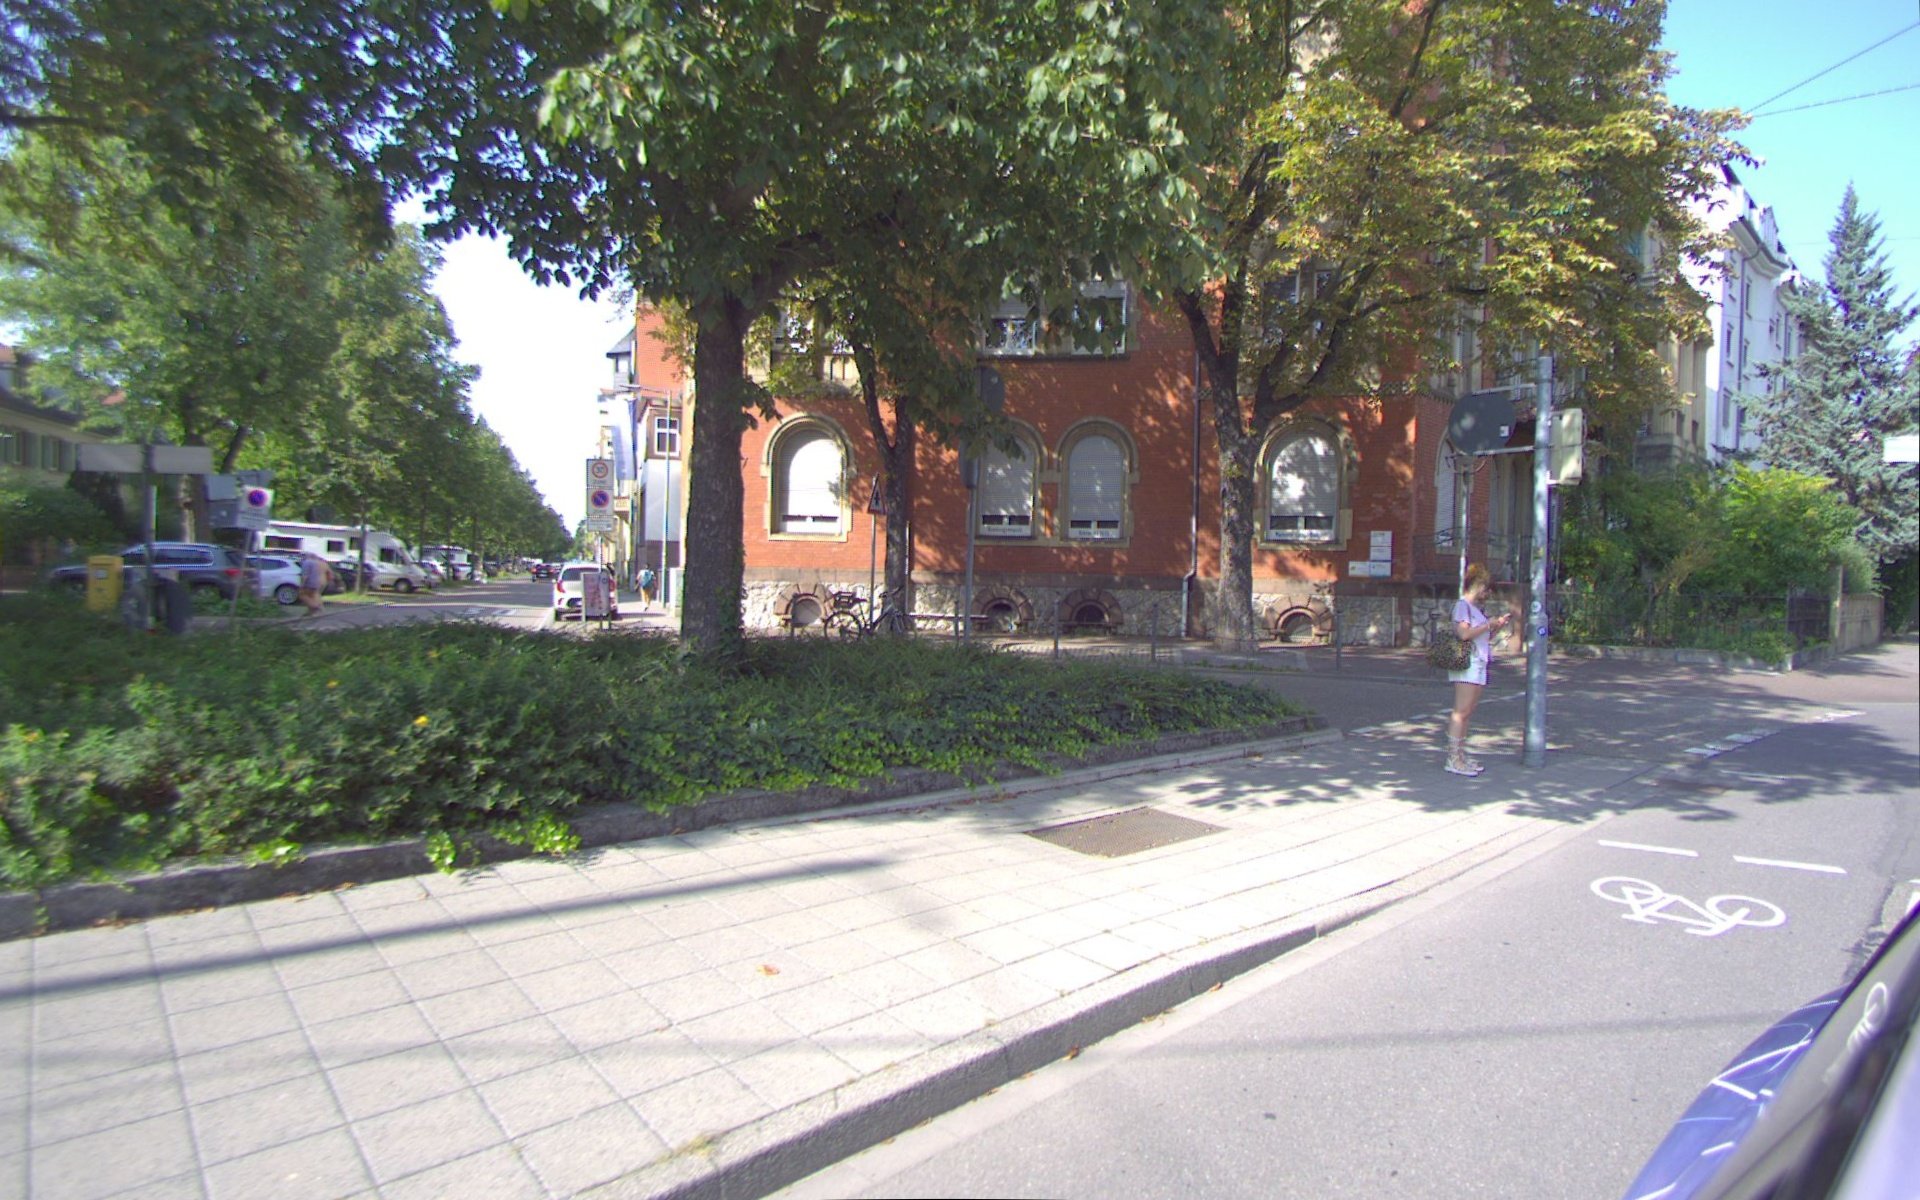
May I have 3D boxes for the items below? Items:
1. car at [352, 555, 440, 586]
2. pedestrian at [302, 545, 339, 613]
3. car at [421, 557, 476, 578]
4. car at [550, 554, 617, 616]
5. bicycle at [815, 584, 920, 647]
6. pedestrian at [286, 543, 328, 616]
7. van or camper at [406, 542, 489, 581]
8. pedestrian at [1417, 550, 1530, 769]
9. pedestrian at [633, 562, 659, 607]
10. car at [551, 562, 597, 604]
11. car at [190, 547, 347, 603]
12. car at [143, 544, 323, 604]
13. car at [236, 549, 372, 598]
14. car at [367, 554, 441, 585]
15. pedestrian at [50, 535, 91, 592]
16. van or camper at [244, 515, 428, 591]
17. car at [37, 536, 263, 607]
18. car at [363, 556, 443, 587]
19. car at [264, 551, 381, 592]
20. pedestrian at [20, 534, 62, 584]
[{"bbox_3d":[-29.978,-1.566,53.913,3.939,1.385,1.665,4,0,-28],"label":"car"},{"bbox_3d":[-16.957,-0.563,26.857,0.581,1.786,0.606,1,1,7],"label":"pedestrian"},{"bbox_3d":[-42.246,-2.671,83.561,3.939,1.385,1.665,4,0,-28],"label":"car"},{"bbox_3d":[-10.376,-0.440,27.855,1.588,1.586,4.009,0,2,-21],"label":"car"},{"bbox_3d":[-1.606,0.278,17.714,1.804,1.072,0.608,0,-2,-1],"label":"bicycle"},{"bbox_3d":[-16.408,-0.520,25.436,0.644,1.786,0.605,1,1,9],"label":"pedestrian"},{"bbox_3d":[-44.701,-3.300,88.505,6.197,2.919,2.003,3,-2,-22],"label":"van or camper"},{"bbox_3d":[4.276,0.465,8.432,0.648,1.739,0.544,0,1,-32],"label":"pedestrian"},{"bbox_3d":[-9.600,-0.472,30.955,0.703,1.342,0.680,1,1,-21],"label":"pedestrian"},{"bbox_3d":[-15.238,-0.698,39.959,1.588,1.586,4.009,0,2,-21],"label":"car"},{"bbox_3d":[-22.151,-0.783,32.609,3.939,1.480,1.665,4,0,-28],"label":"car"},{"bbox_3d":[-21.664,-0.767,30.378,4.109,1.480,1.665,4,0,-28],"label":"car"},{"bbox_3d":[-23.721,-0.945,36.781,3.939,1.480,1.665,4,0,-28],"label":"car"},{"bbox_3d":[-34.937,-1.904,63.695,3.939,1.611,1.665,4,0,-28],"label":"car"},{"bbox_3d":[-28.728,-1.175,32.706,0.754,1.782,0.860,0,1,-22],"label":"pedestrian"},{"bbox_3d":[-28.441,-2.071,46.450,6.797,2.919,2.003,3,-2,-23],"label":"van or camper"},{"bbox_3d":[-20.075,-0.686,25.294,4.107,1.658,1.666,0,1,-22],"label":"car"},{"bbox_3d":[-32.101,-1.631,58.450,3.939,1.454,1.665,4,0,-28],"label":"car"},{"bbox_3d":[-26.445,-1.188,42.137,3.939,1.385,1.665,4,0,-28],"label":"car"},{"bbox_3d":[-29.407,-1.307,32.387,0.754,1.566,0.860,0,1,-24],"label":"pedestrian"}]
